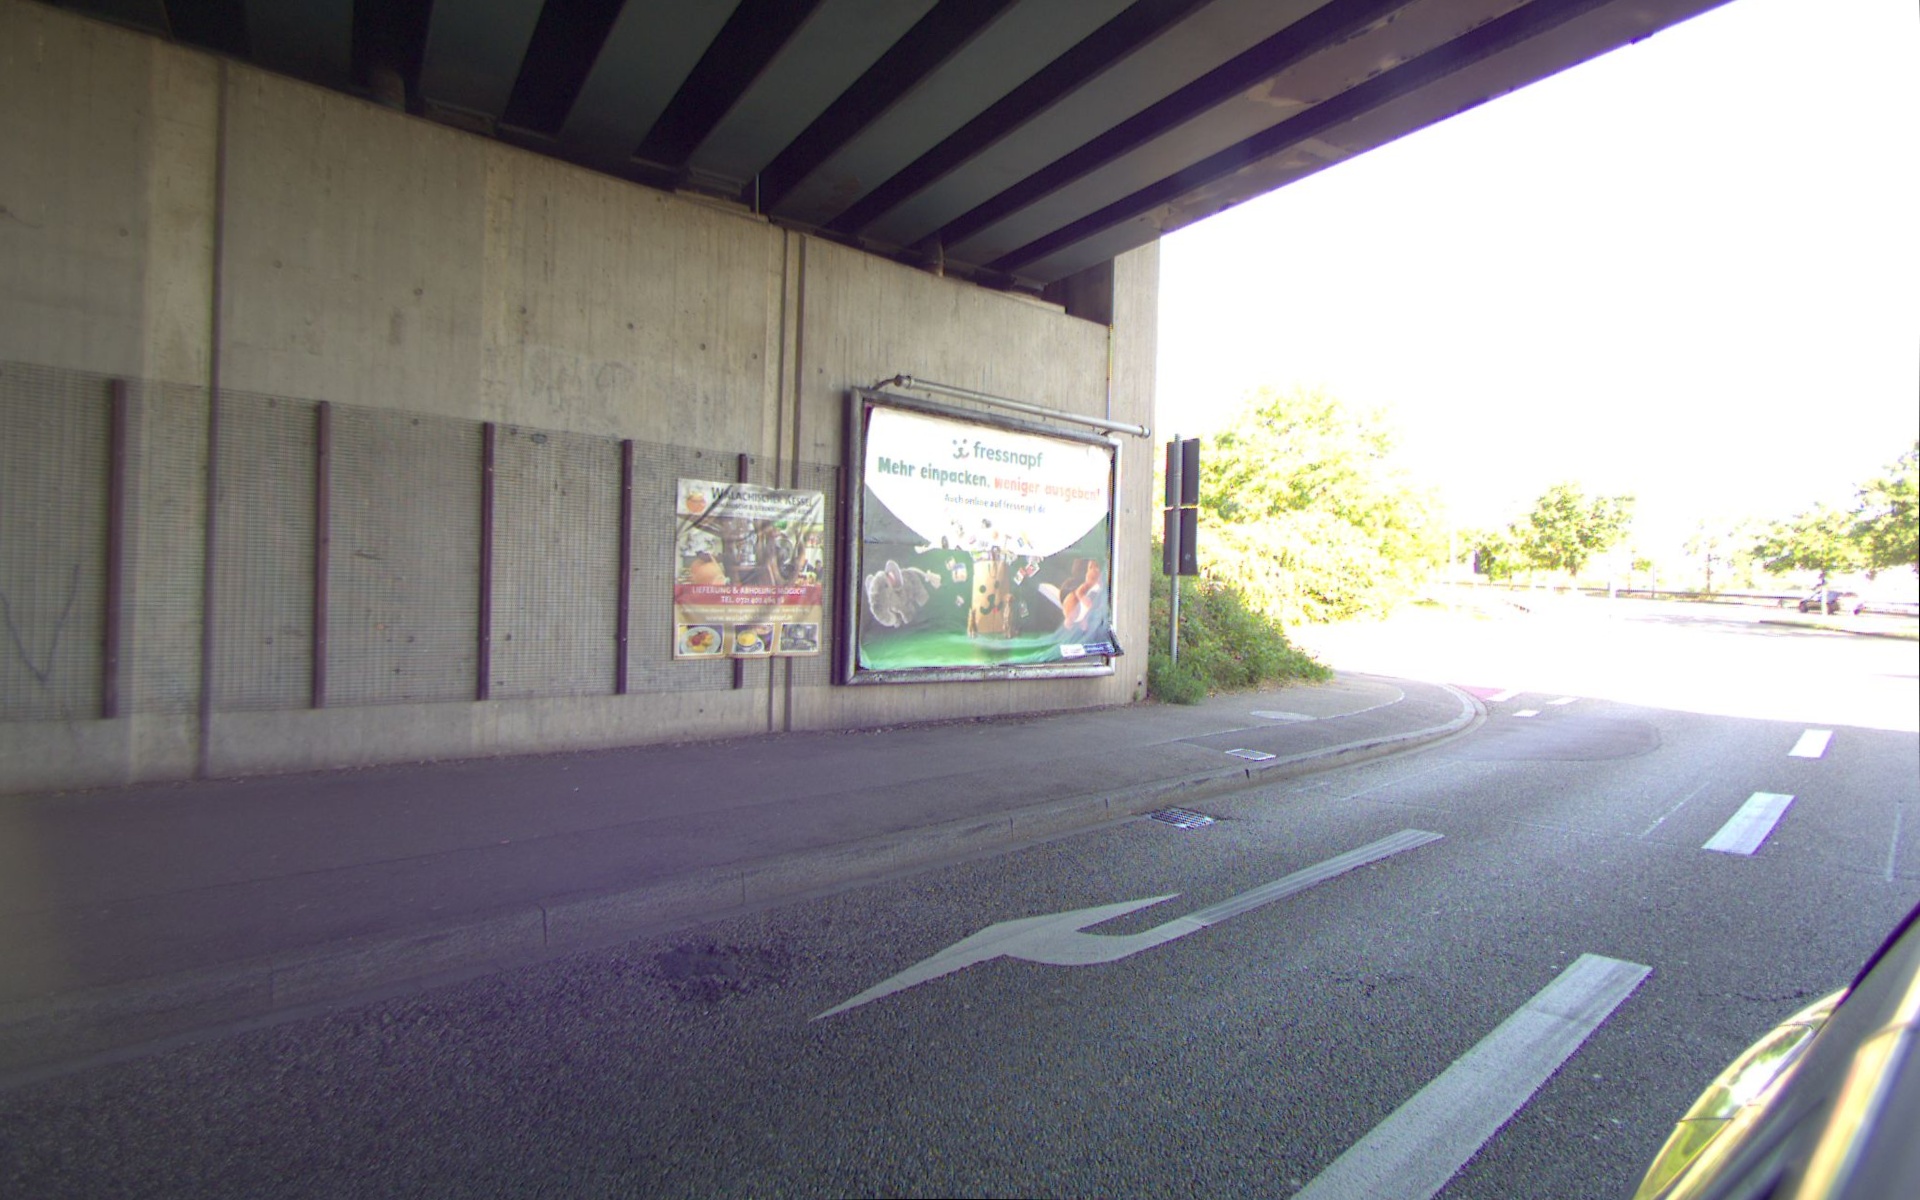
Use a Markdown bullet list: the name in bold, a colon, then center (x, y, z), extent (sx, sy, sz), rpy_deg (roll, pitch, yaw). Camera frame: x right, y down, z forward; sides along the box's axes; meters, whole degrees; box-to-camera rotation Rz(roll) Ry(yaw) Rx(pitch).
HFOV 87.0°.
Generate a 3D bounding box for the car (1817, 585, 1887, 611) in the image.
- **car**: center (59.005, -0.135, 67.034), extent (1.832, 1.637, 4.341), rpy_deg (0, 0, 17)
